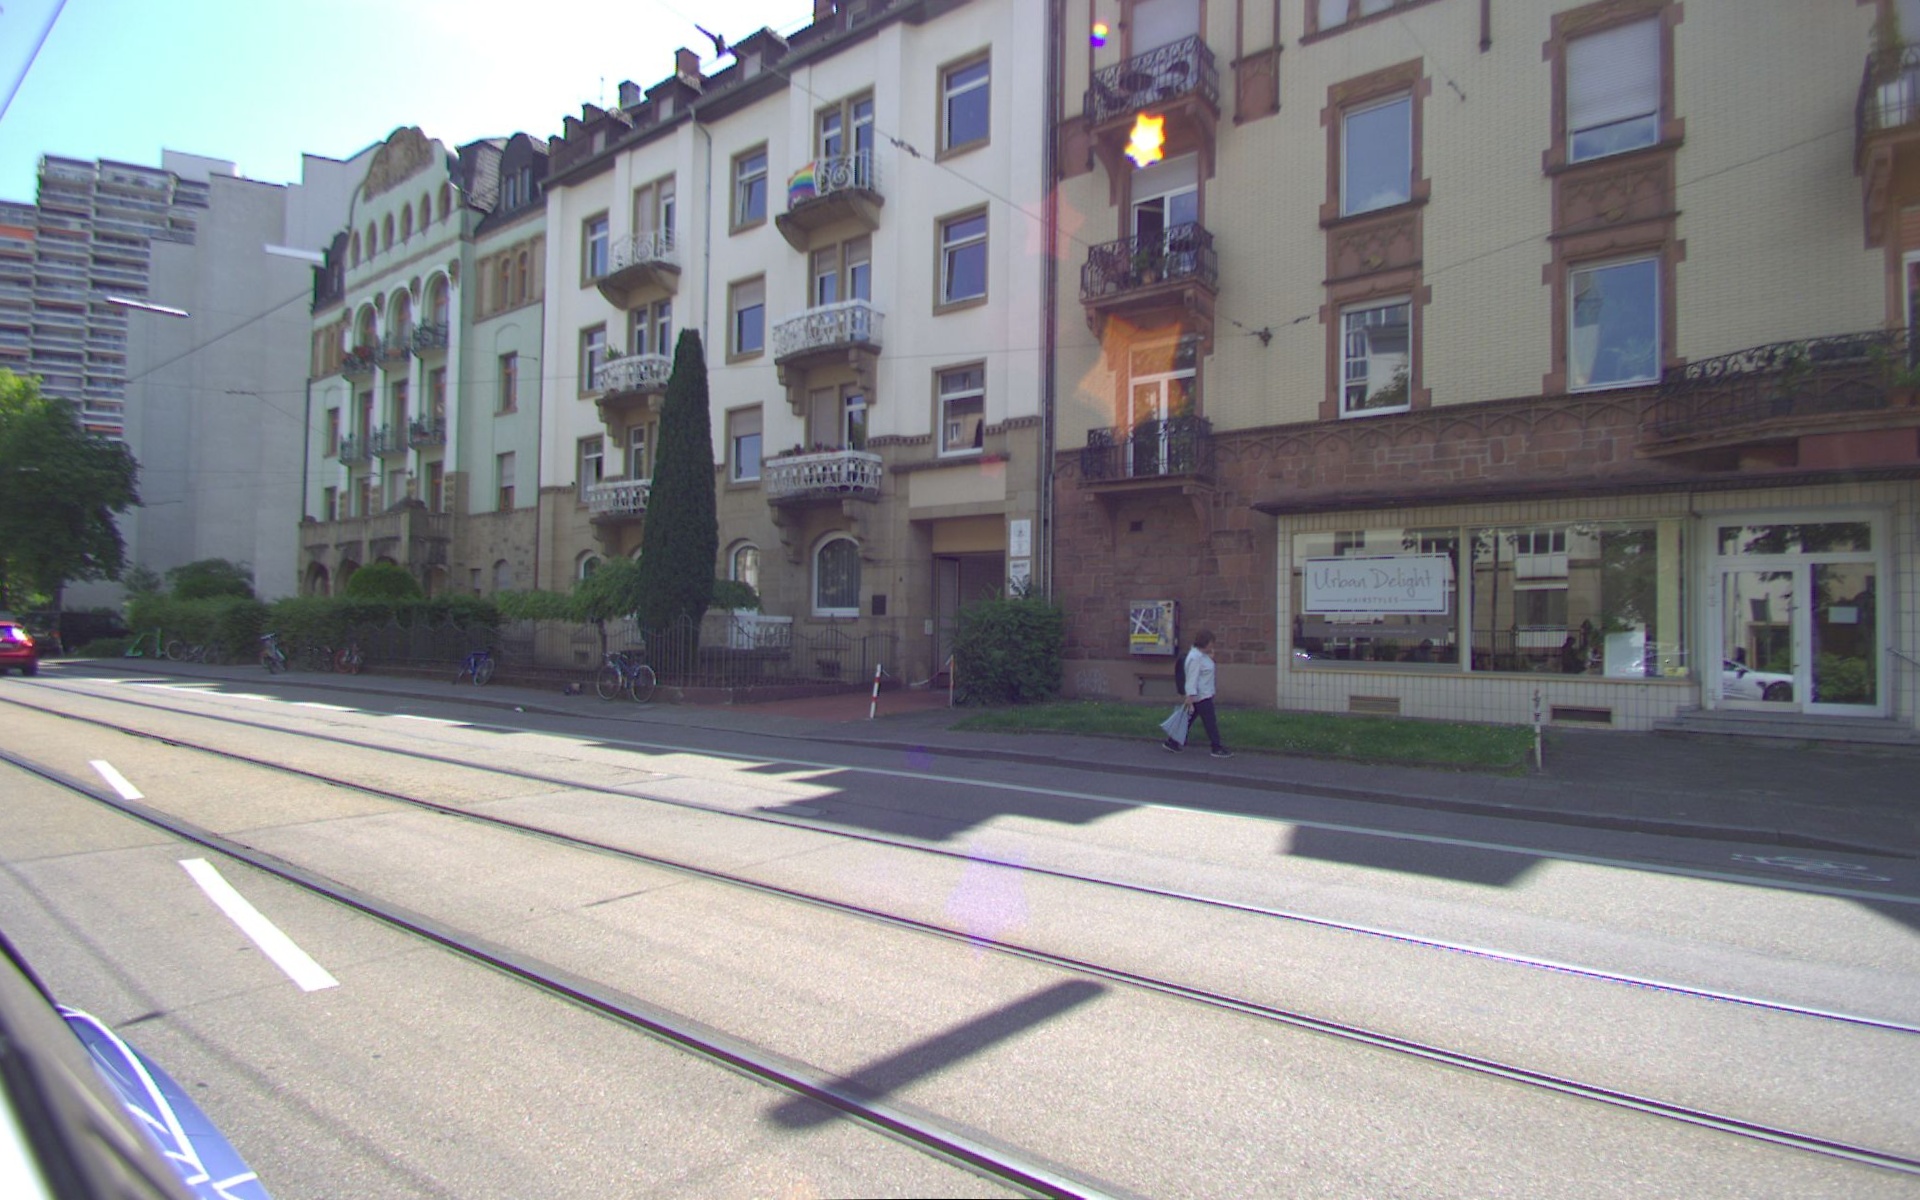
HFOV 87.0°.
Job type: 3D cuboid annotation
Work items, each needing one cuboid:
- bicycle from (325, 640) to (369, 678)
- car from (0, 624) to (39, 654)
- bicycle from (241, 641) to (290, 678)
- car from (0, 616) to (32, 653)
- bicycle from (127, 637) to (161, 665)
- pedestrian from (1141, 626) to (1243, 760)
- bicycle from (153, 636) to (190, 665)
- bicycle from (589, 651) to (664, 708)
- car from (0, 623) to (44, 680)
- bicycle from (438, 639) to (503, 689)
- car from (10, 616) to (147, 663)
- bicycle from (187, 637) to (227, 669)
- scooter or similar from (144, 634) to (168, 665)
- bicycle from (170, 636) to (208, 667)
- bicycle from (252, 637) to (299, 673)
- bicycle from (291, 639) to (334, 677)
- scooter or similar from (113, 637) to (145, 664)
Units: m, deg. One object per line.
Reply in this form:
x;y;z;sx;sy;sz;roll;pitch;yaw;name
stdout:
-16.596;1.586;27.369;1.723;0.973;0.409;-1;0;38;bicycle
-51.283;2.041;53.661;1.657;1.587;3.688;2;-2;-5;car
-19.403;1.643;28.306;0.599;1.007;1.780;2;-3;-17;bicycle
-53.905;1.883;55.954;1.578;2.058;4.055;1;-2;-3;car
-30.899;1.915;38.310;1.705;0.997;0.602;-1;1;37;bicycle
2.867;1.109;12.470;0.981;1.554;0.893;-1;-3;33;pedestrian
-28.230;1.795;36.240;1.705;0.997;0.602;-1;1;37;bicycle
-6.468;1.515;19.601;1.838;0.968;0.406;0;1;38;bicycle
-26.044;1.318;26.706;4.419;1.424;1.807;-1;-5;36;car
-11.289;1.458;23.320;1.768;1.073;0.602;-1;1;37;bicycle
-38.345;1.734;44.186;1.935;1.940;4.586;1;-2;0;car
-25.260;1.763;33.932;1.768;0.983;0.602;-1;1;37;bicycle
-29.602;1.820;37.262;1.289;1.129;0.402;-1;-3;39;scooter or similar
-26.734;1.778;35.097;1.705;0.997;0.602;-1;1;37;bicycle
-20.677;1.646;30.556;1.768;1.040;0.602;-1;1;37;bicycle
-18.155;1.619;28.356;1.705;1.007;0.460;-1;0;38;bicycle
-32.191;1.945;39.215;1.215;1.028;0.404;0;-3;22;scooter or similar
